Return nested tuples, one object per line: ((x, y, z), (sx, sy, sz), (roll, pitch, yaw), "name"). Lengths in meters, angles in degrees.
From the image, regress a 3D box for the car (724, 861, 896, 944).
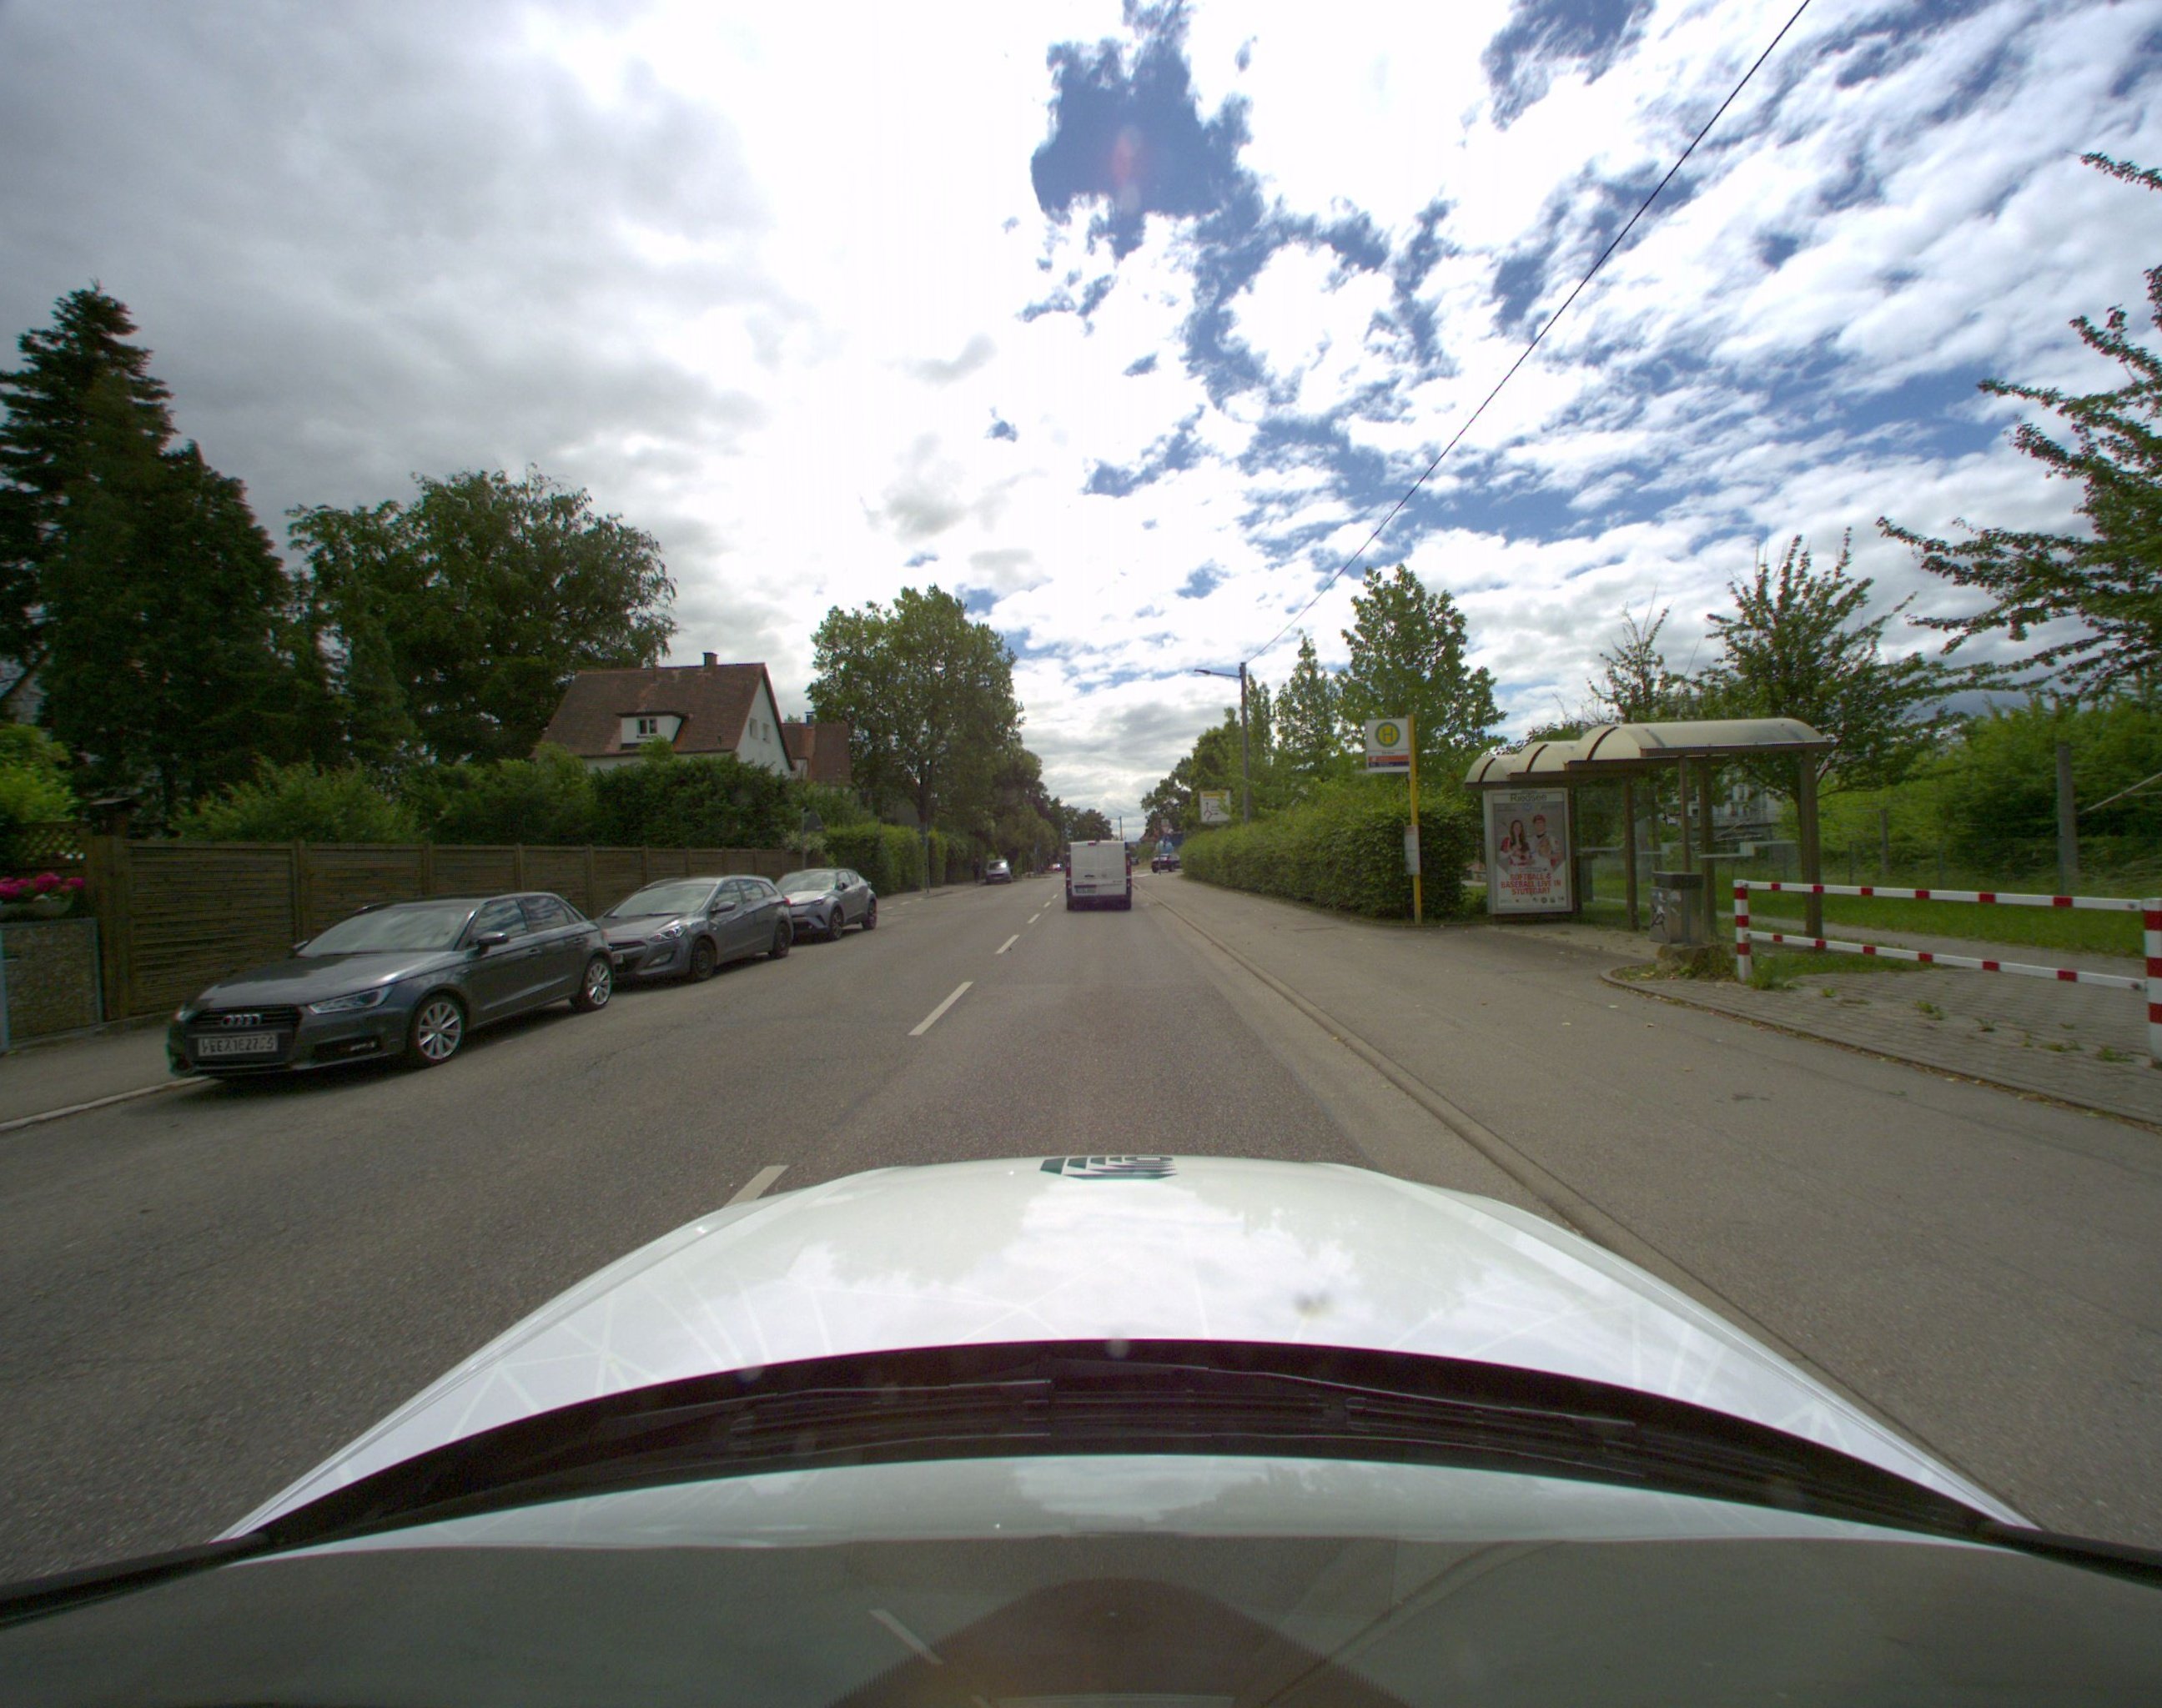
((-5.905, 0.980, 18.459), (1.985, 1.479, 4.652), (-3, 0, 4), "car")

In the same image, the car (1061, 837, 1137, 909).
((0.548, 0.512, 24.717), (2.027, 1.945, 4.995), (-1, 0, 1), "car")

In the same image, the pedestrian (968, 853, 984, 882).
((-7.535, 0.945, 58.473), (0.870, 2.013, 1.040), (-4, 0, -3), "pedestrian")

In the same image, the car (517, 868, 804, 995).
((-6.114, 1.025, 12.604), (1.859, 1.459, 4.493), (-2, 0, 3), "car")

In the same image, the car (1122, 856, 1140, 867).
((7.365, 1.072, 120.550), (1.930, 1.537, 3.916), (-2, 1, -7), "car")

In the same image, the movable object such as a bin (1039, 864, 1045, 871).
((-4.764, 1.675, 99.736), (0.625, 0.863, 0.642), (-4, 0, 11), "movable object such as a bin")

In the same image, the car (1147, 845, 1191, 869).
((7.772, 0.264, 71.863), (1.974, 2.013, 4.025), (0, 0, 39), "car")

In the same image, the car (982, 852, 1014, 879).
((-5.812, 0.774, 57.301), (2.129, 1.772, 4.455), (-1, 0, -6), "car")

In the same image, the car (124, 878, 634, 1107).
((-6.282, 1.085, 8.017), (1.647, 1.427, 3.903), (-3, 1, -2), "car")
